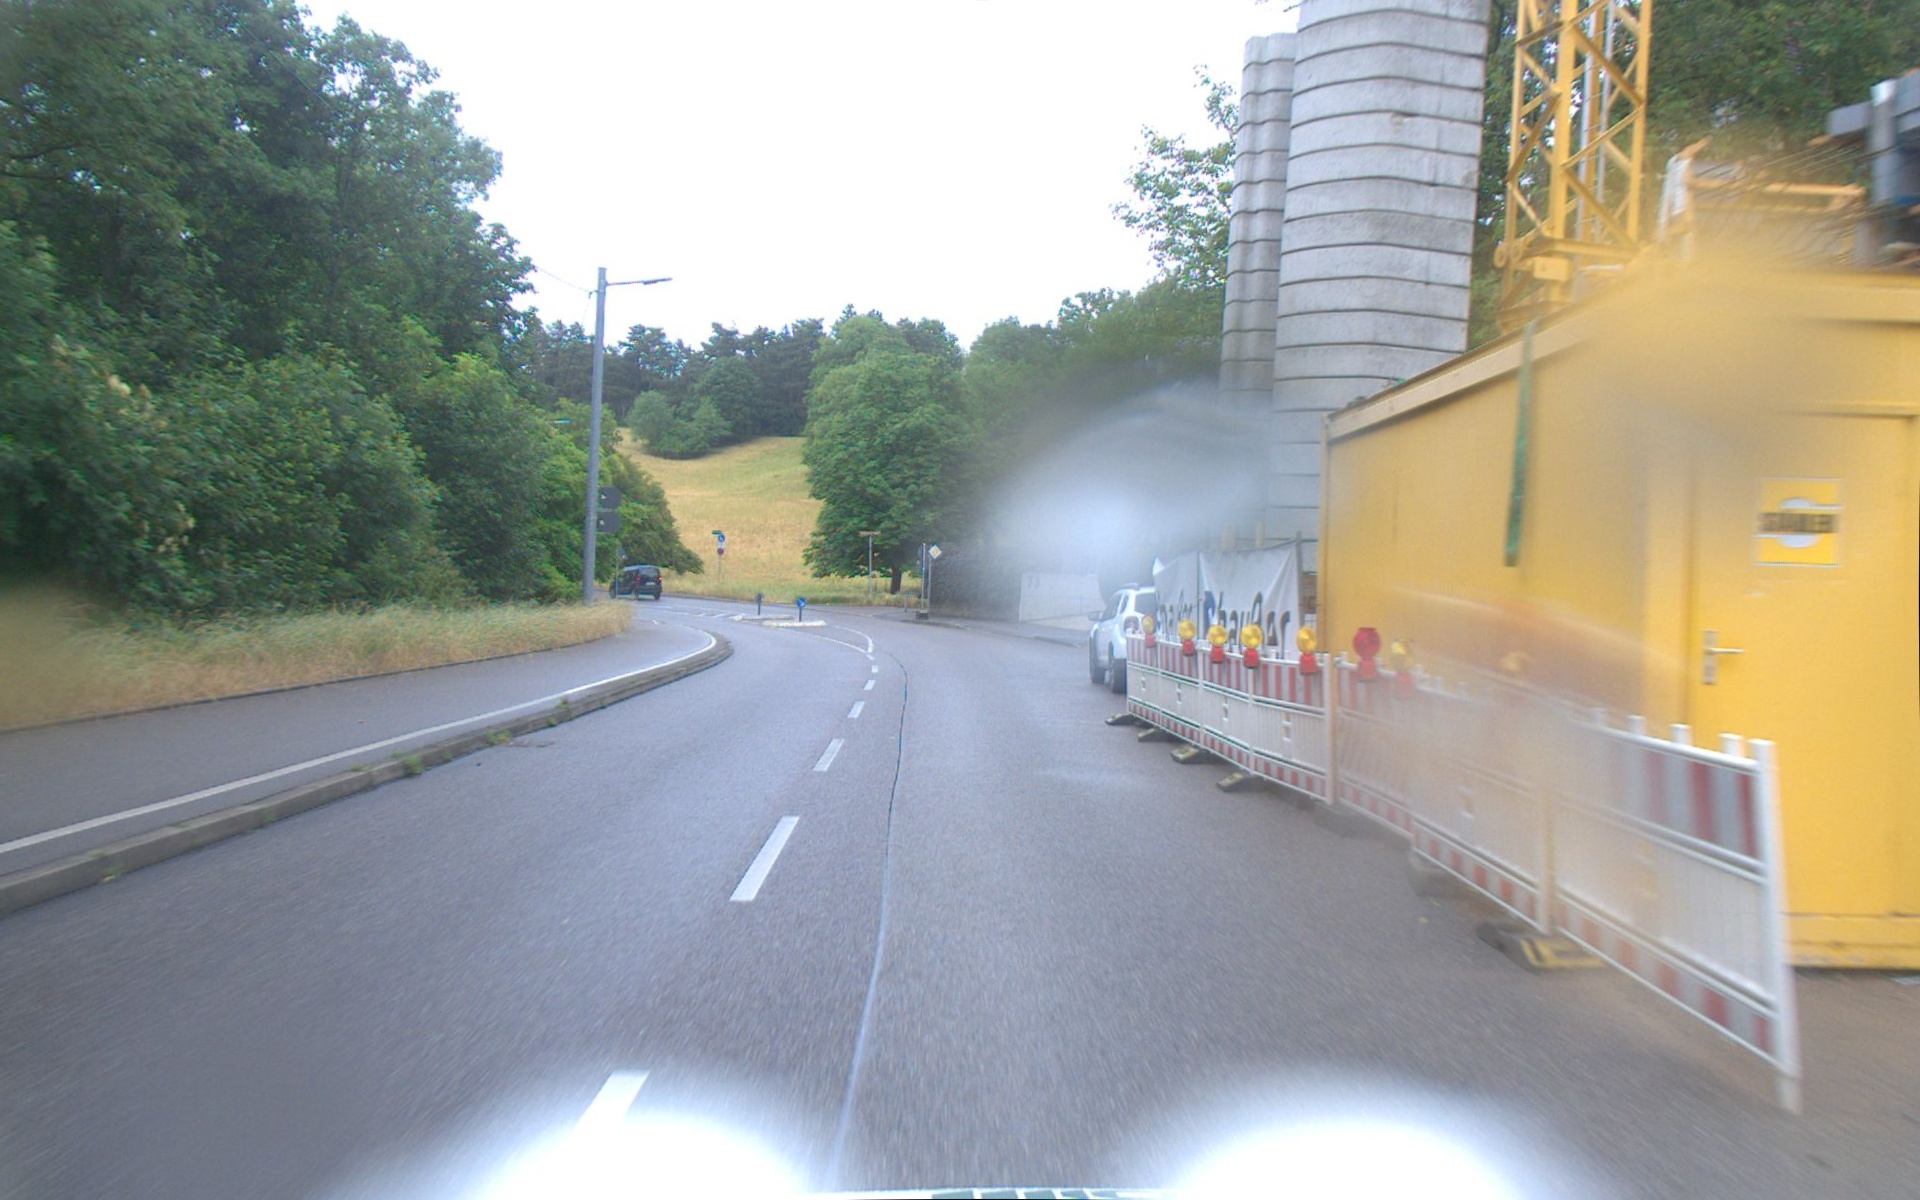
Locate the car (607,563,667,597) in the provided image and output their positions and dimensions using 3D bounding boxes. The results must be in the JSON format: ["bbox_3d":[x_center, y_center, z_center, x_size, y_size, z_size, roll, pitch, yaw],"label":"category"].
[{"bbox_3d":[-18.001,-1.132,92.168,1.914,1.782,3.954,2,0,-33],"label":"car"}]

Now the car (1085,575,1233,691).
[{"bbox_3d":[3.162,0.475,27.134,1.710,1.735,4.500,0,0,-2],"label":"car"}]
